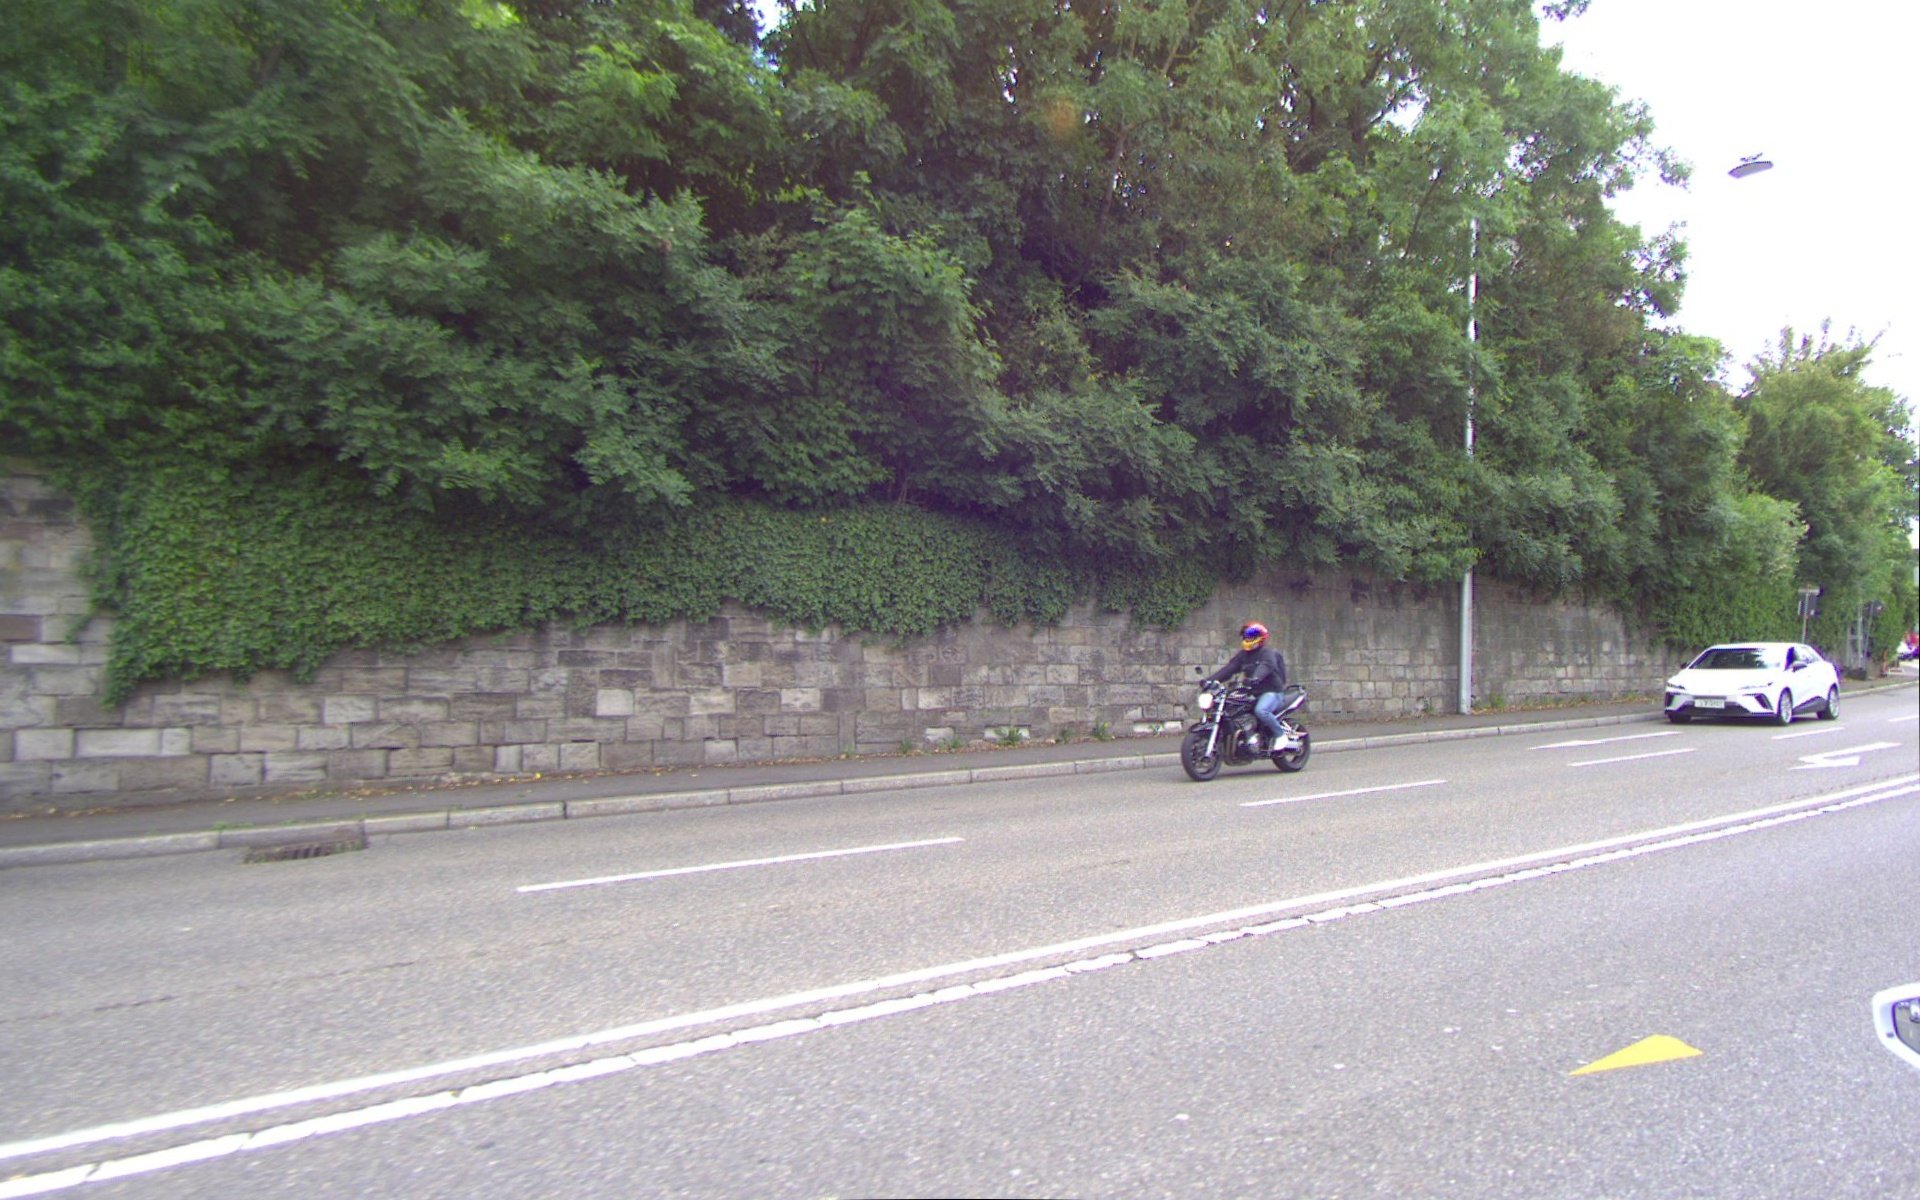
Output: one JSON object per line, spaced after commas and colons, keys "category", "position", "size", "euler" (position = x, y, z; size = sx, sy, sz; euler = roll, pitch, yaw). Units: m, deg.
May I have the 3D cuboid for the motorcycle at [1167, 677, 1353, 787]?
{"category": "motorcycle", "position": [3.418, 1.441, 11.352], "size": [2.282, 1.087, 0.646], "euler": [1, -4, -32]}

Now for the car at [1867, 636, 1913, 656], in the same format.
{"category": "car", "position": [67.979, 3.342, 73.472], "size": [1.870, 1.400, 3.988], "euler": [-2, -3, 35]}

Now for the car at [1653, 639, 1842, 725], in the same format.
{"category": "car", "position": [15.240, 1.539, 19.382], "size": [4.061, 1.485, 1.771], "euler": [2, -5, -36]}

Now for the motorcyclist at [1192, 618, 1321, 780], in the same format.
{"category": "motorcyclist", "position": [3.358, 1.088, 11.361], "size": [1.323, 1.727, 0.645], "euler": [1, -4, -32]}

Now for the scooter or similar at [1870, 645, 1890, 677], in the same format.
{"category": "scooter or similar", "position": [36.684, 2.416, 40.053], "size": [0.532, 1.221, 1.272], "euler": [3, 0, 43]}

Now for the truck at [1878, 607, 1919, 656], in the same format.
{"category": "truck", "position": [76.677, 2.557, 80.599], "size": [2.905, 3.746, 9.891], "euler": [-1, -3, 34]}
